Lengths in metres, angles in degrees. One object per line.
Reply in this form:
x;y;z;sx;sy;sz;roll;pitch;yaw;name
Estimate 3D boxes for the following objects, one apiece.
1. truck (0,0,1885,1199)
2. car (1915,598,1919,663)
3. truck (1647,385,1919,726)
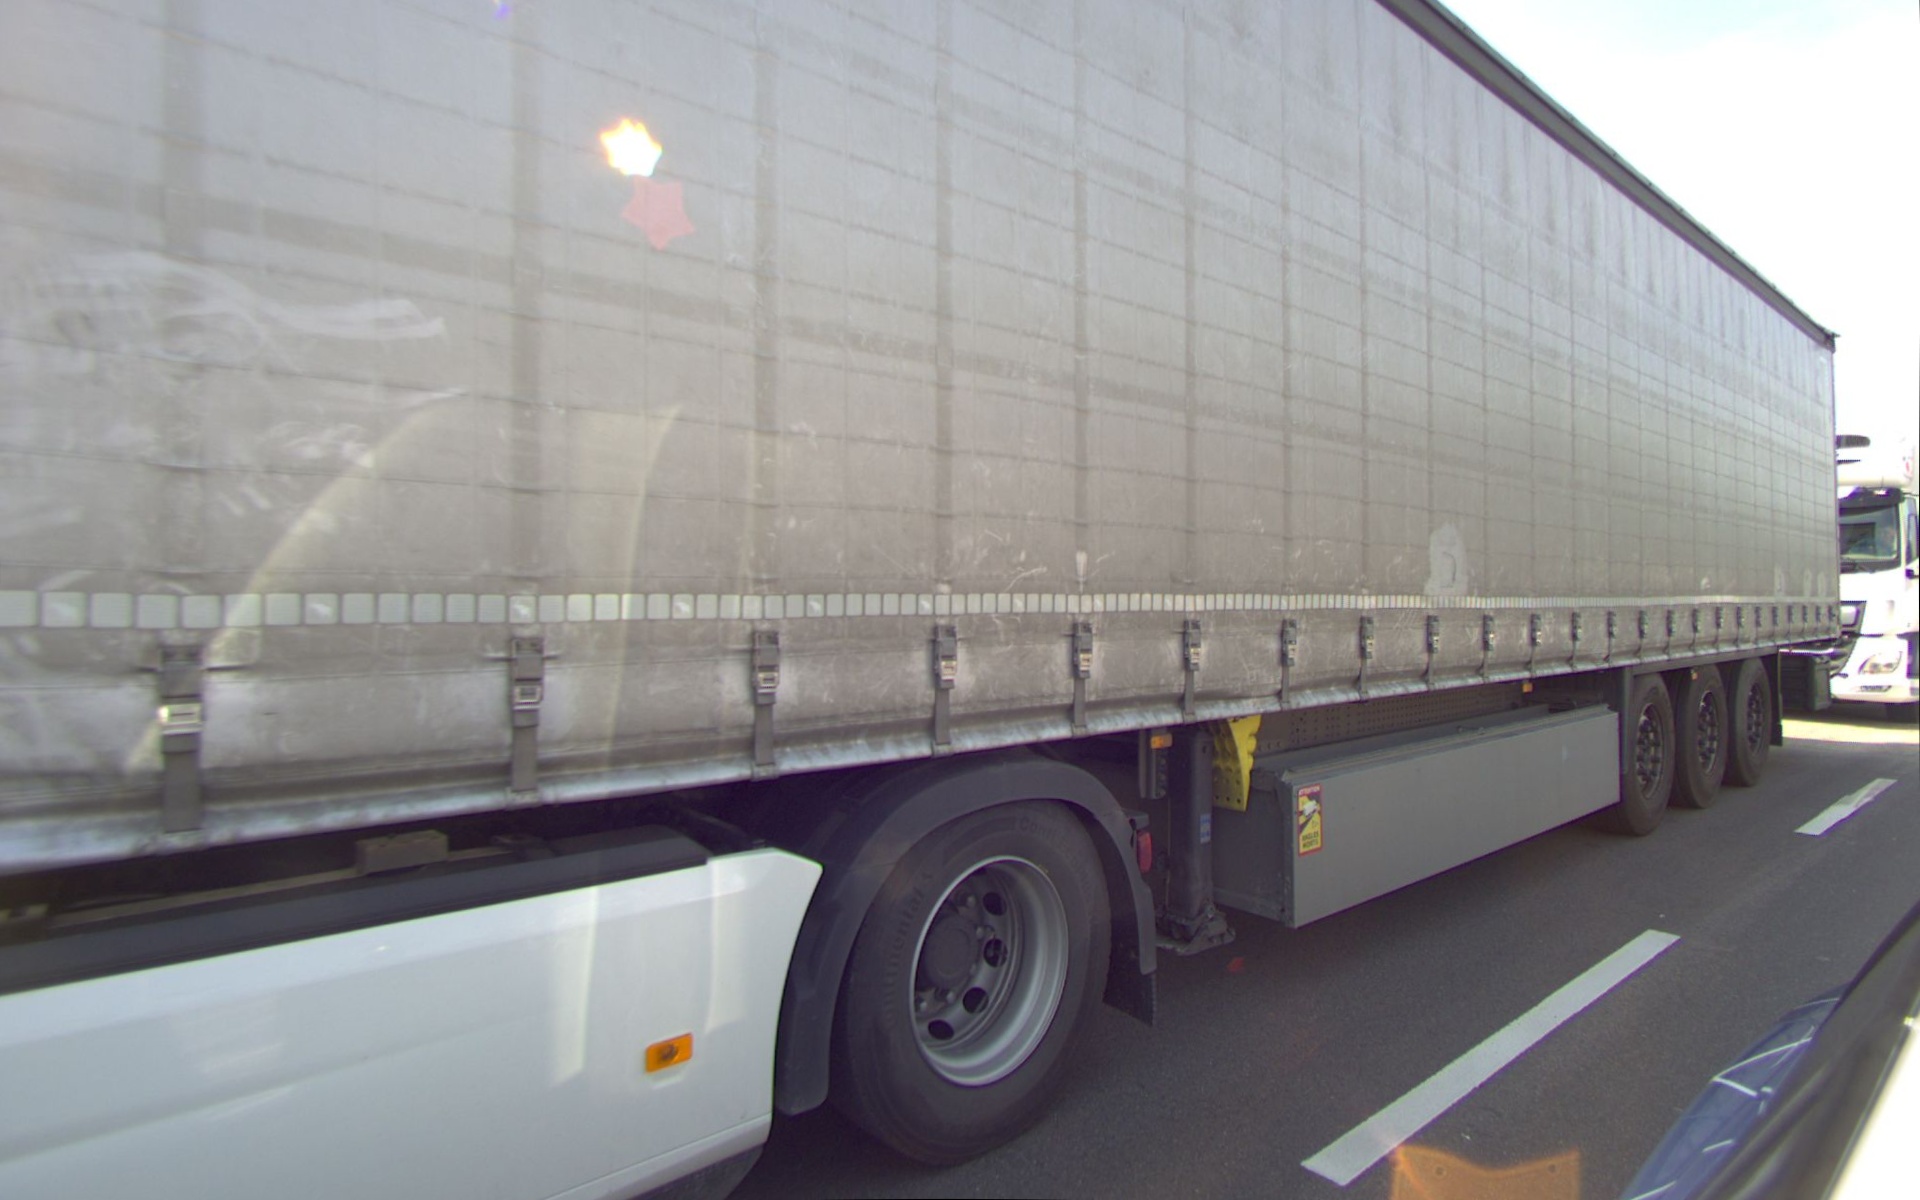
1.576;-0.754;5.525;16.411;4.320;2.896;0;-1;-40;truck
23.662;0.649;23.407;4.149;1.447;1.738;-1;-1;-39;car
14.385;-0.527;15.845;10.940;3.859;2.885;0;-1;-39;truck
